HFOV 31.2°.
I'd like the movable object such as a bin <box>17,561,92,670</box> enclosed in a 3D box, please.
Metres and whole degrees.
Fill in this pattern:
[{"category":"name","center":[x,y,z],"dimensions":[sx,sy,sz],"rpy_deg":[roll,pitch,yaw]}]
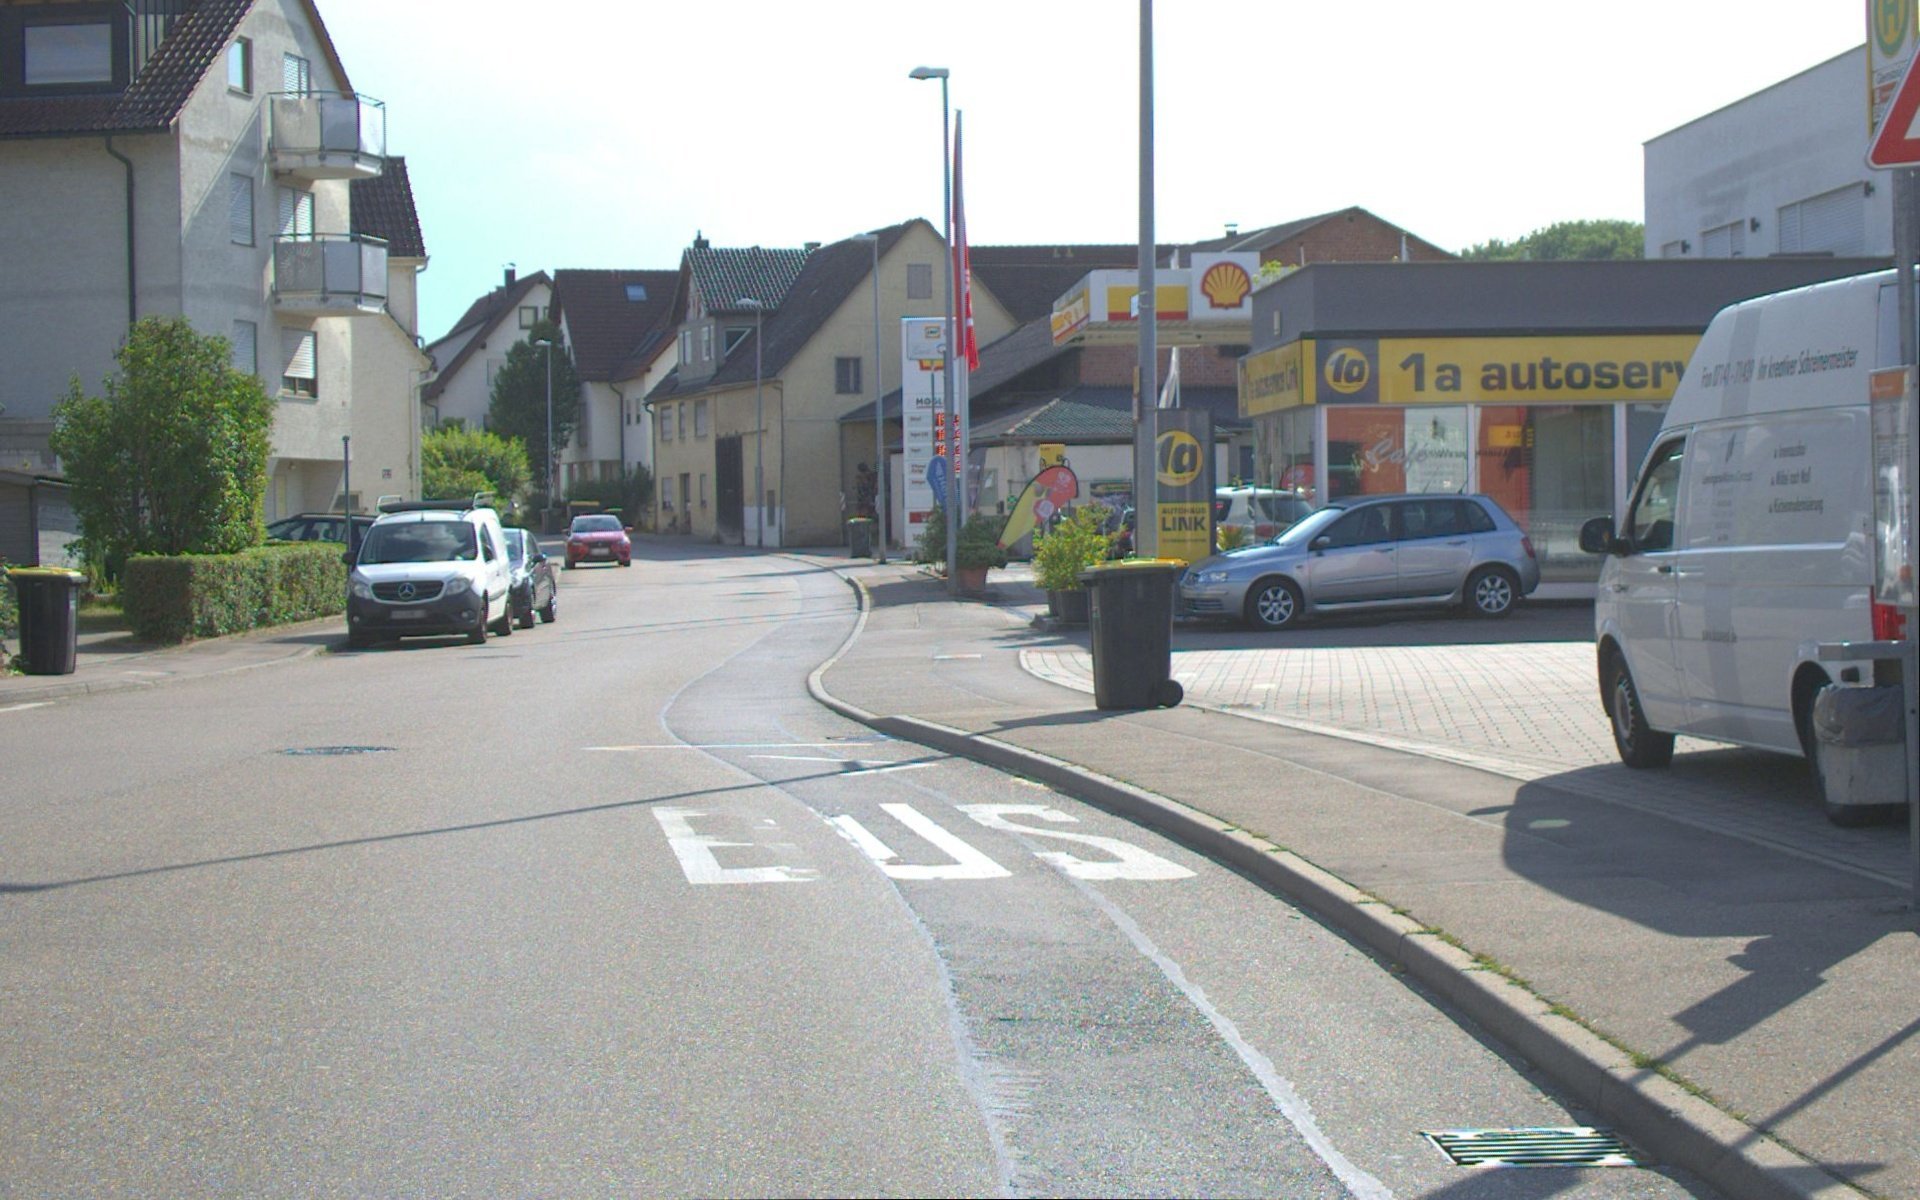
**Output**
[{"category":"movable object such as a bin","center":[-9.215,0.154,34.994],"dimensions":[0.611,1.097,0.576],"rpy_deg":[0,0,-1]}]

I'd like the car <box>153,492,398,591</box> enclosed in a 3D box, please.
[{"category":"car","center":[-12.599,-1.096,63.354],"dimensions":[3.989,1.533,1.762],"rpy_deg":[4,2,10]}]

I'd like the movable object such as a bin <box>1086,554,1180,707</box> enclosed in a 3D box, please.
[{"category":"movable object such as a bin","center":[1.249,0.213,24.853],"dimensions":[0.567,1.071,0.573],"rpy_deg":[-2,2,-6]}]

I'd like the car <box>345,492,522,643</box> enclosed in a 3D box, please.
[{"category":"car","center":[-6.981,-0.479,45.960],"dimensions":[1.716,1.866,4.192],"rpy_deg":[-2,2,-1]}]

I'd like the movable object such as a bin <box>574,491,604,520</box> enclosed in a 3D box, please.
[{"category":"movable object such as a bin","center":[-15.604,-3.975,144.579],"dimensions":[1.160,1.164,0.655],"rpy_deg":[-1,2,-14]}]

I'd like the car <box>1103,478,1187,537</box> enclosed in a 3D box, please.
[{"category":"car","center":[4.565,-2.316,85.288],"dimensions":[1.577,1.422,4.382],"rpy_deg":[0,2,-4]}]

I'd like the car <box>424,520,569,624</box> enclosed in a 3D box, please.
[{"category":"car","center":[-6.917,-0.449,51.574],"dimensions":[1.672,1.446,3.835],"rpy_deg":[-2,2,-1]}]

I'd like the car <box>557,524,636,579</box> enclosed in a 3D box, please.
[{"category":"car","center":[-10.142,-1.367,95.774],"dimensions":[1.708,1.430,3.781],"rpy_deg":[-3,2,-13]}]

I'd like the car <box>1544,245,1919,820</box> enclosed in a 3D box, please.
[{"category":"car","center":[4.458,-0.357,16.839],"dimensions":[1.836,2.366,5.180],"rpy_deg":[-1,1,-5]}]

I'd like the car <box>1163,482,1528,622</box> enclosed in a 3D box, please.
[{"category":"car","center":[4.516,-0.580,40.461],"dimensions":[3.986,1.526,1.528],"rpy_deg":[-1,2,-10]}]
